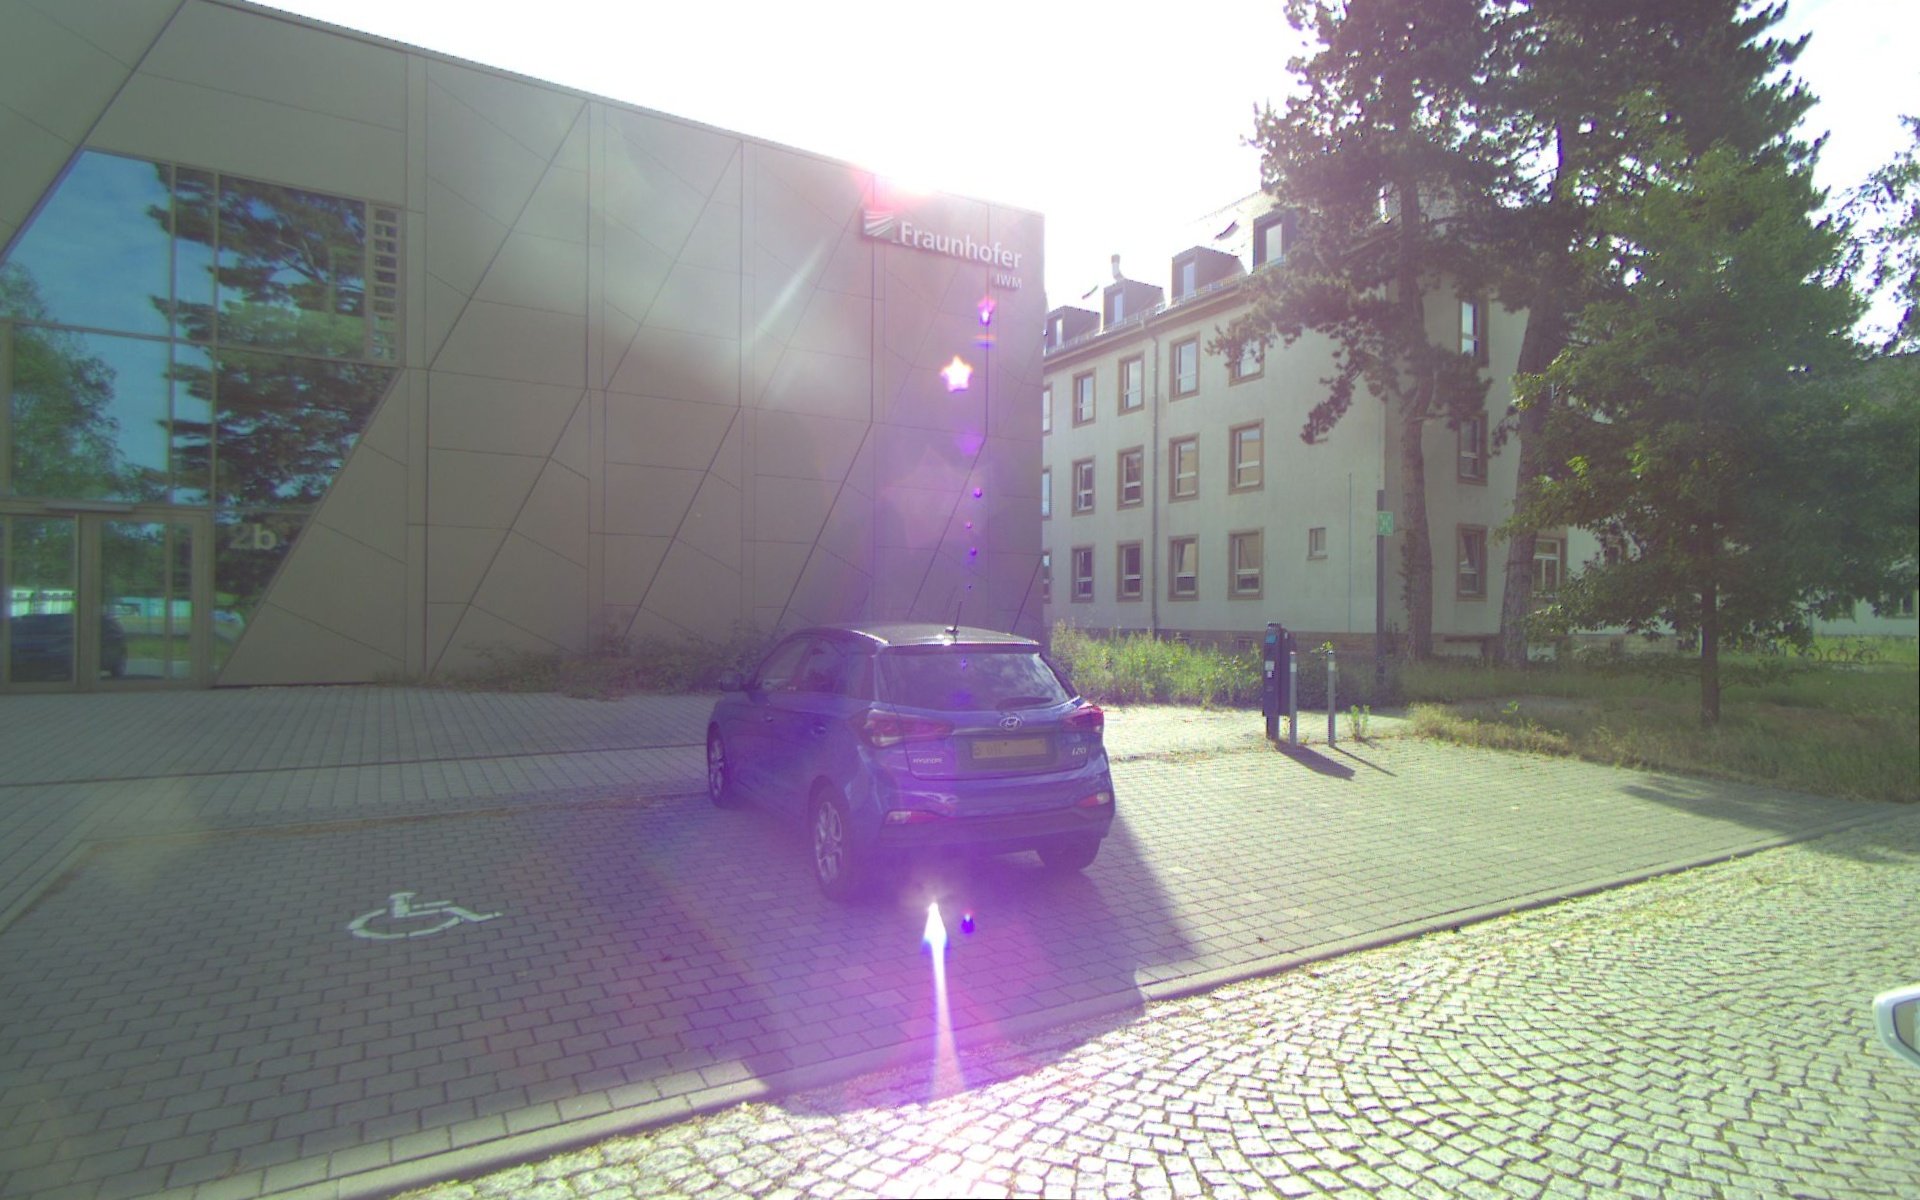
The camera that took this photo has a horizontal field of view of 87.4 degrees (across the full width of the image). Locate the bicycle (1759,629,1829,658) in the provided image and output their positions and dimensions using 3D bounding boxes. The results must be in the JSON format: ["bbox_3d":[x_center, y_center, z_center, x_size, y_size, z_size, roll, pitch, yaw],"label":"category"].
[{"bbox_3d":[34.813,1.801,41.948,0.820,1.123,2.105,1,-1,-33],"label":"bicycle"}]

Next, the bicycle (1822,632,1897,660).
[{"bbox_3d":[35.936,1.824,40.154,0.820,1.061,2.105,1,-1,-33],"label":"bicycle"}]

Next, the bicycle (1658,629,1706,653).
[{"bbox_3d":[33.561,1.903,46.663,2.524,1.061,0.896,1,-1,-31],"label":"bicycle"}]

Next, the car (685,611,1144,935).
[{"bbox_3d":[-0.612,0.879,7.004,1.698,1.483,3.819,1,0,-28],"label":"car"}]

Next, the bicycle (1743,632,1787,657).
[{"bbox_3d":[35.158,1.939,43.846,2.099,1.061,0.822,1,-1,-31],"label":"bicycle"}]

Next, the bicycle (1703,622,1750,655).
[{"bbox_3d":[34.640,1.716,45.365,2.524,1.456,0.822,1,-1,-31],"label":"bicycle"}]

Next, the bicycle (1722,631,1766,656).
[{"bbox_3d":[34.738,1.929,44.503,2.099,1.061,0.822,1,-1,-31],"label":"bicycle"}]
